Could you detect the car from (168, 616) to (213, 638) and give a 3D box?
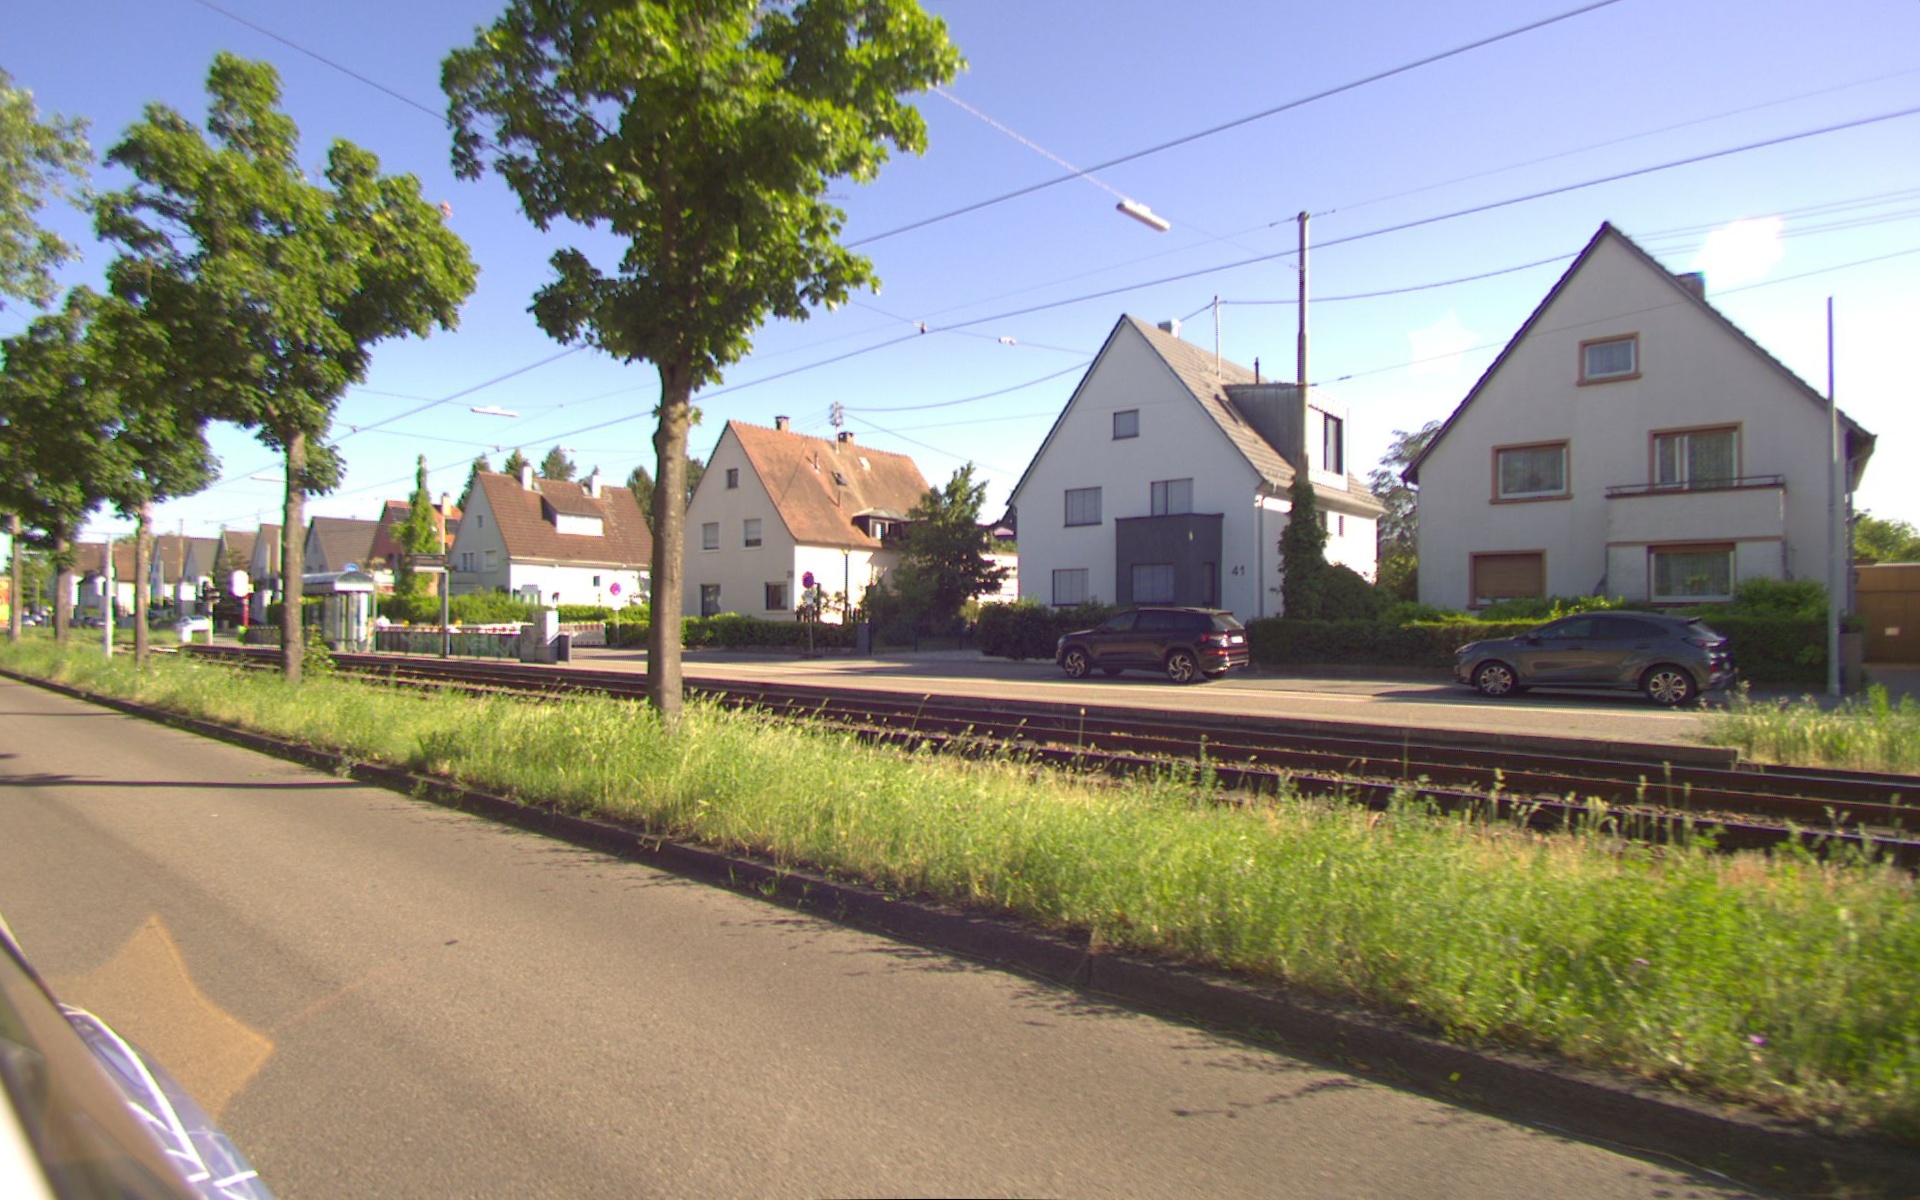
[{"bbox_3d":[-62.646,2.190,82.376,4.837,1.691,1.973,-1,0,41],"label":"car"}]

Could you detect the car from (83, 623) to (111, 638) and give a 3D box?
[{"bbox_3d":[-92.154,3.281,108.078,3.754,1.501,1.716,-1,0,41],"label":"car"}]

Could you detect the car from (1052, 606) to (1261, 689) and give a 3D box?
[{"bbox_3d":[4.498,1.030,23.537,4.388,1.726,1.973,-1,0,41],"label":"car"}]

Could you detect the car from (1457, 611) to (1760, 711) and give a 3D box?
[{"bbox_3d":[11.251,0.972,17.715,4.254,1.506,1.906,-1,0,41],"label":"car"}]

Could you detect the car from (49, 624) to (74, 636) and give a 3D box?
[{"bbox_3d":[-105.361,3.490,118.618,3.821,1.392,1.733,-1,0,41],"label":"car"}]

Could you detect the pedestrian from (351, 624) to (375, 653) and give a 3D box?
[{"bbox_3d":[-31.619,2.043,53.619,0.791,1.546,0.805,-3,-3,32],"label":"pedestrian"}]

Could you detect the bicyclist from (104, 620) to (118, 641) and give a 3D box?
[{"bbox_3d":[-78.869,2.845,94.047,1.071,1.901,0.843,-1,0,41],"label":"bicyclist"}]
